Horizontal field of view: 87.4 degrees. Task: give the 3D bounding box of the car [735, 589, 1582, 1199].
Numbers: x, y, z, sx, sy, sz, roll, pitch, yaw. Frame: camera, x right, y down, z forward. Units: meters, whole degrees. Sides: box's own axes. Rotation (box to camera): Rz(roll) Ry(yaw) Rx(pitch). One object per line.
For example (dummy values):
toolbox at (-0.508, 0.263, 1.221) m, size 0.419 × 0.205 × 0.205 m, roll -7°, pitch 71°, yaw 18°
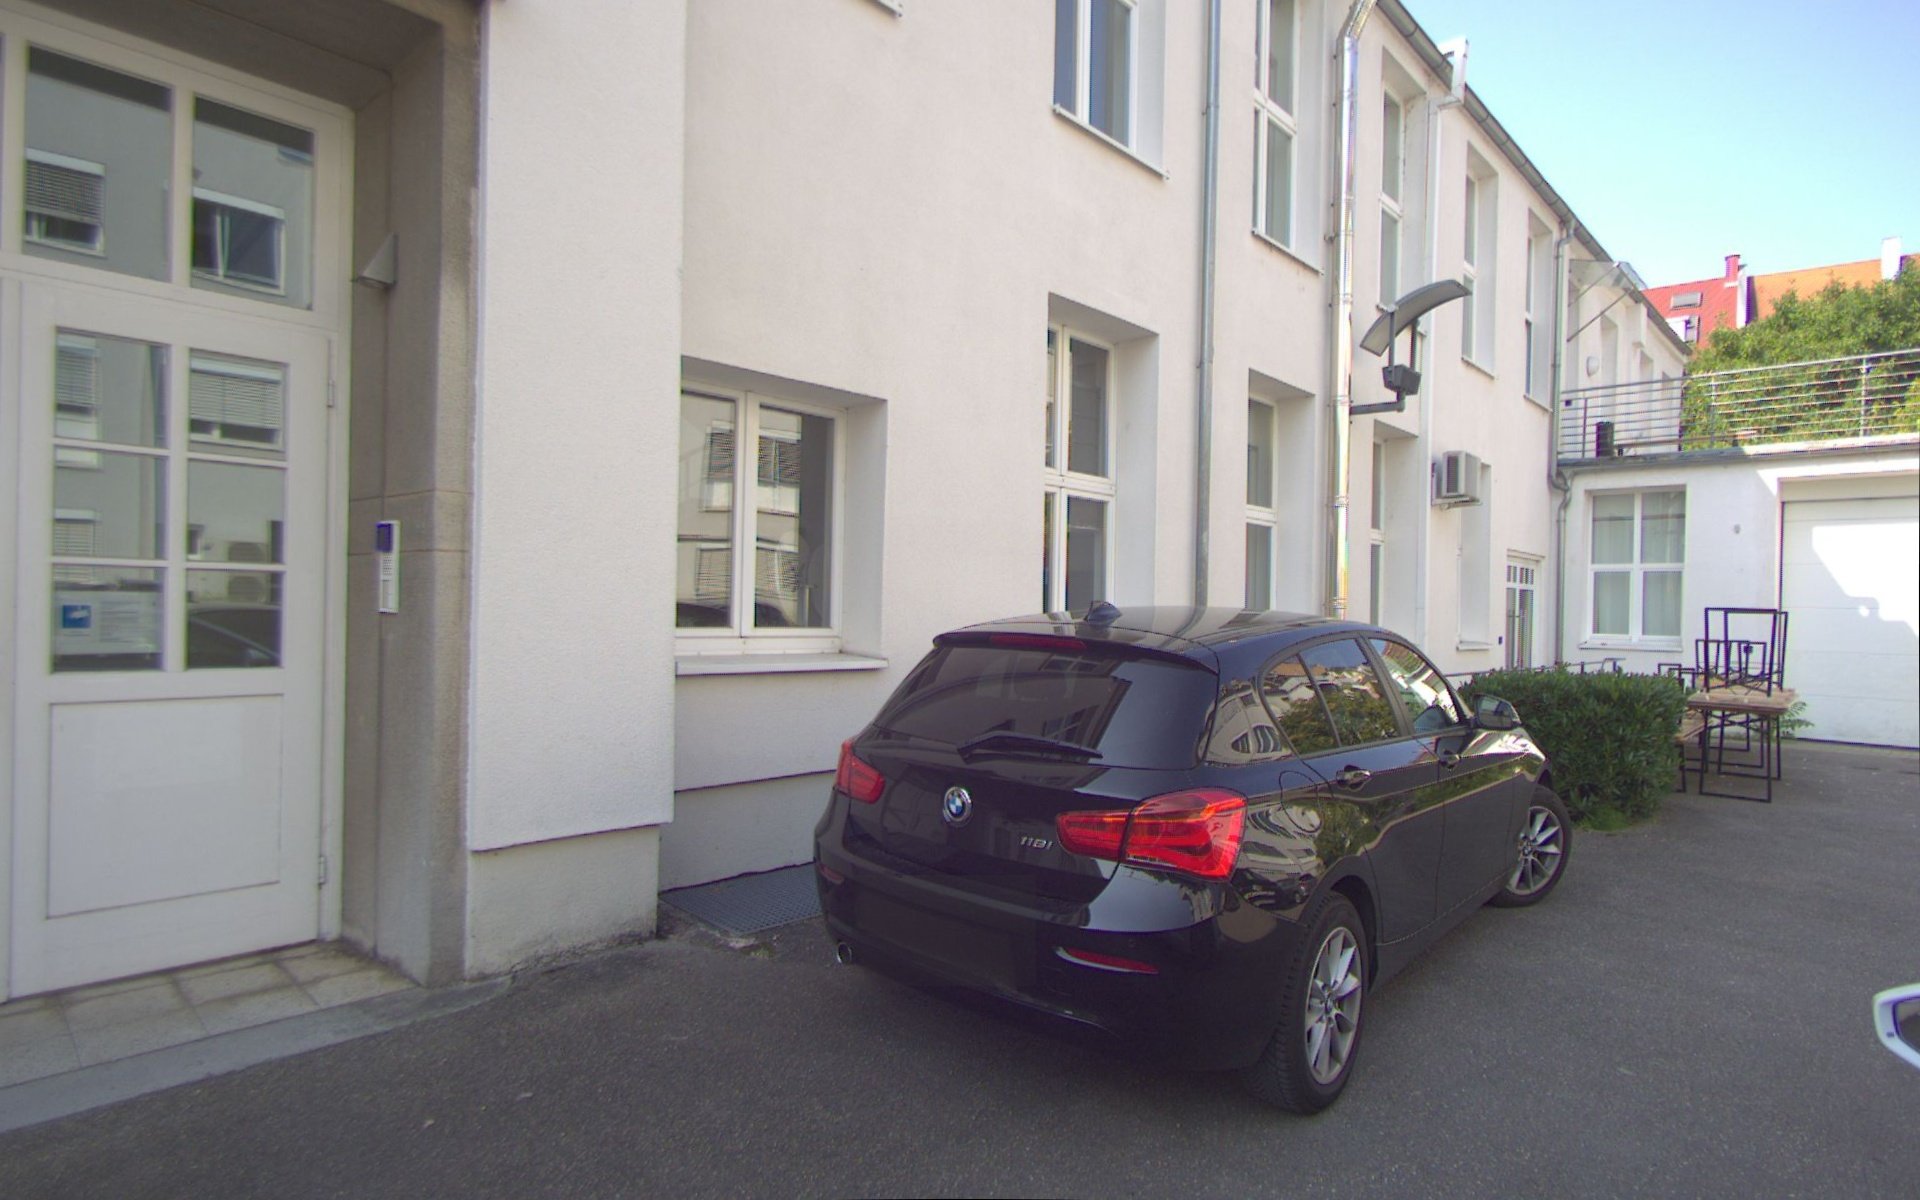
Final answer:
car at (1.264, 0.739, 4.355) m, size 1.772 × 1.447 × 4.115 m, roll 2°, pitch 0°, yaw 41°
